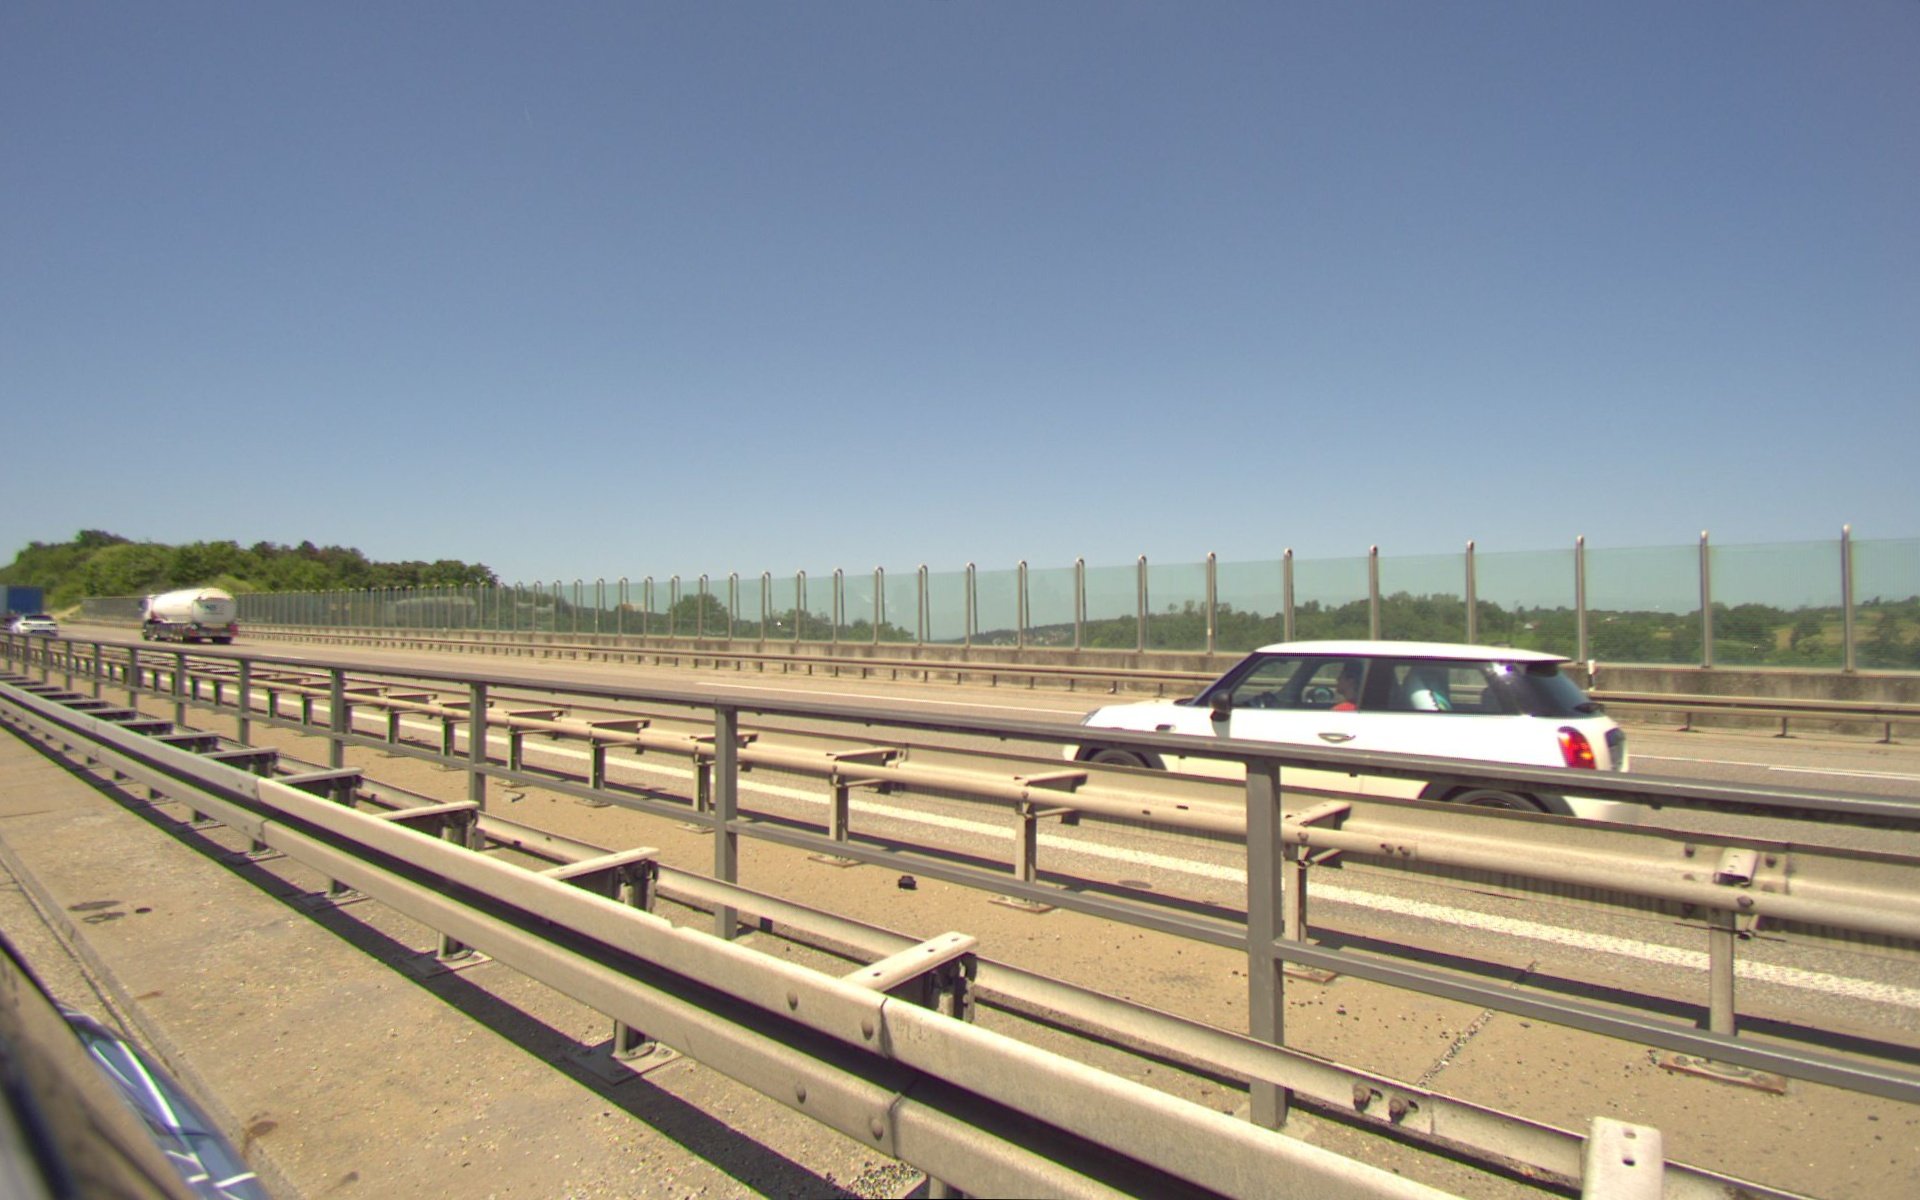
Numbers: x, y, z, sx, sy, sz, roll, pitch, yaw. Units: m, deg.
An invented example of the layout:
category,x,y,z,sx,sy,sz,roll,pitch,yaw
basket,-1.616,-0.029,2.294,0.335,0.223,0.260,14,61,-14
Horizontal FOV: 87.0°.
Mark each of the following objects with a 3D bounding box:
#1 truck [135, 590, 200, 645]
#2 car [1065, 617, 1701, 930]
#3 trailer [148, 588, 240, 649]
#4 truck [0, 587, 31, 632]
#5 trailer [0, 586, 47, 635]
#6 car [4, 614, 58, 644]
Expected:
category,x,y,z,sx,sy,sz,roll,pitch,yaw
truck,-53.937,1.188,68.831,5.328,3.562,2.494,0,-2,42
car,2.757,0.969,6.922,3.606,1.541,1.852,-1,-7,41
trailer,-48.541,1.156,63.996,10.899,3.567,2.472,0,-2,42
truck,-90.964,0.931,96.520,6.262,4.148,2.724,0,-2,41
trailer,-86.329,0.937,92.471,12.043,4.197,2.676,0,-2,41
car,-54.242,1.705,59.064,3.997,1.652,1.788,0,-3,40
